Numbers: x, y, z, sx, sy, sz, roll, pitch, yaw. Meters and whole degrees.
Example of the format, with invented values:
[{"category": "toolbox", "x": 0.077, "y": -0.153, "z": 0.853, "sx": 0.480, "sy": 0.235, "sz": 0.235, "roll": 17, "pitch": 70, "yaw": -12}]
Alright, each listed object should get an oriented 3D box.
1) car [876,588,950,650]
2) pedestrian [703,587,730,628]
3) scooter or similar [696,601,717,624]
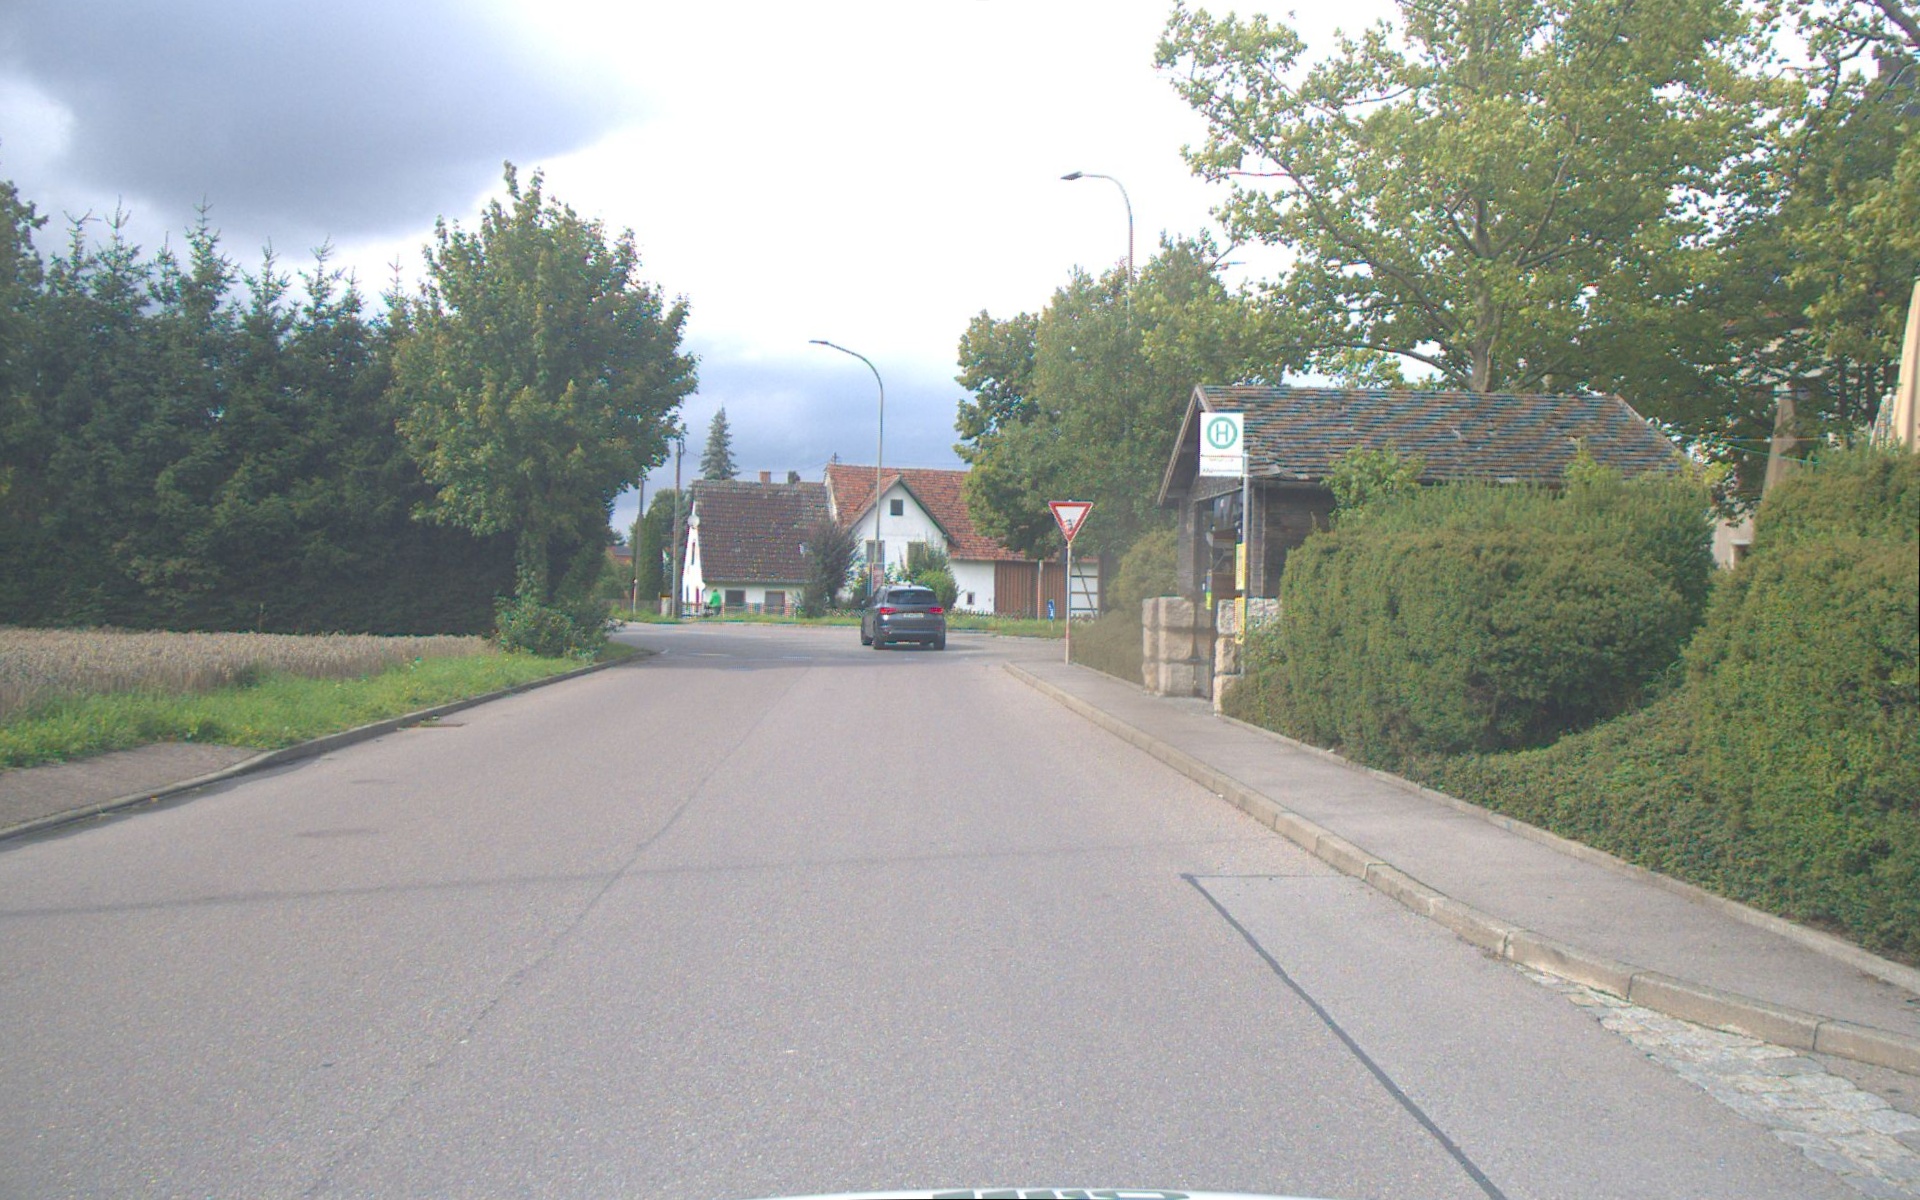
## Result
[{"category": "car", "x": -1.233, "y": 0.438, "z": 41.783, "sx": 1.763, "sy": 1.488, "sz": 3.660, "roll": 0, "pitch": 0, "yaw": -3}, {"category": "pedestrian", "x": -10.571, "y": 0.333, "z": 71.833, "sx": 0.782, "sy": 1.694, "sz": 0.703, "roll": 6, "pitch": -3, "yaw": -35}, {"category": "scooter or similar", "x": -11.088, "y": 0.547, "z": 72.335, "sx": 0.625, "sy": 0.964, "sz": 0.615, "roll": 6, "pitch": -3, "yaw": -35}]
